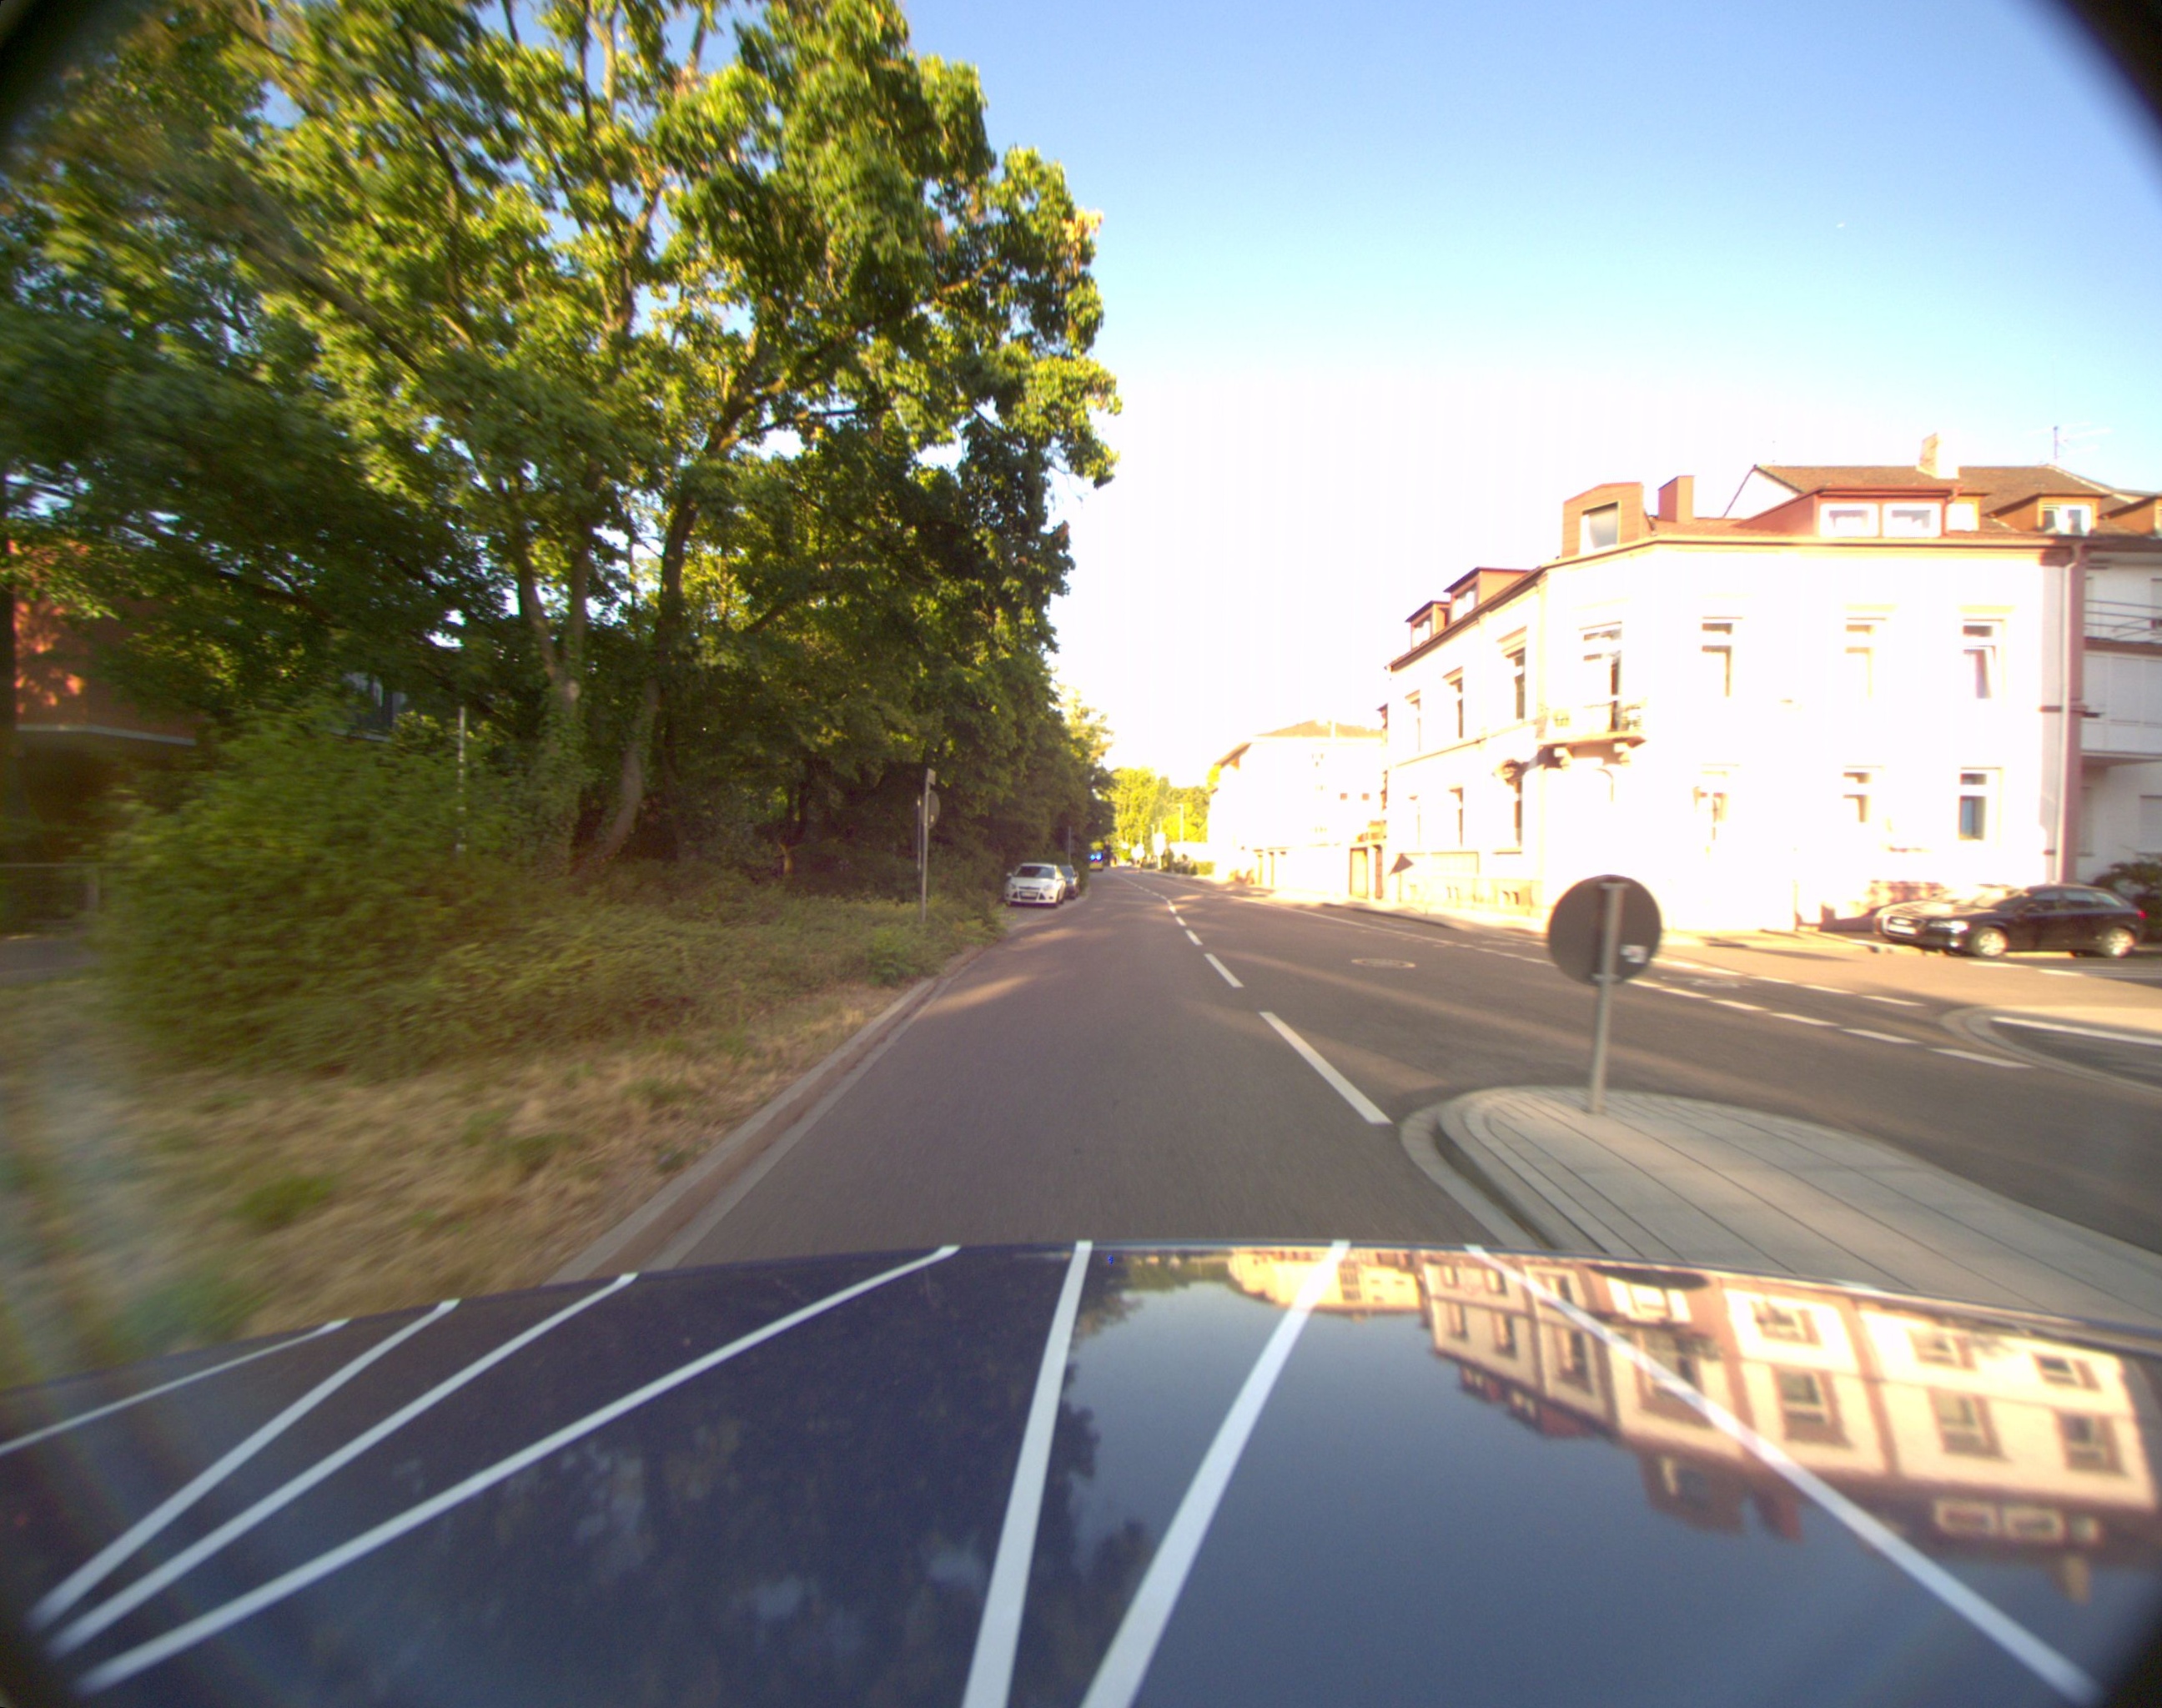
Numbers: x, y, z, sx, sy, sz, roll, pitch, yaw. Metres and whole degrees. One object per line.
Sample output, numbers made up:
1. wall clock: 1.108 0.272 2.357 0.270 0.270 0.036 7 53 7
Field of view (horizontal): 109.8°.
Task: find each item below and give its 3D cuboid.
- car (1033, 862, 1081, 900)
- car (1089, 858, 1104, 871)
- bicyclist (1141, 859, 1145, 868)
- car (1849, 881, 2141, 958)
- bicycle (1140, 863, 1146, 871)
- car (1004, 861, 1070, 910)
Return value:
1. car: -0.964 1.128 33.078 1.752 1.478 4.510 1 0 2
2. car: 2.570 1.736 125.312 2.228 2.002 4.891 1 0 3
3. bicyclist: 8.892 1.338 109.097 0.479 1.258 0.567 1 0 0
4. car: 18.995 1.330 15.937 3.916 1.430 1.904 1 0 -2
5. bicycle: 8.892 1.895 109.042 0.576 1.055 1.849 1 0 -1
6. car: -1.455 1.031 26.514 1.752 1.478 4.177 3 0 3
